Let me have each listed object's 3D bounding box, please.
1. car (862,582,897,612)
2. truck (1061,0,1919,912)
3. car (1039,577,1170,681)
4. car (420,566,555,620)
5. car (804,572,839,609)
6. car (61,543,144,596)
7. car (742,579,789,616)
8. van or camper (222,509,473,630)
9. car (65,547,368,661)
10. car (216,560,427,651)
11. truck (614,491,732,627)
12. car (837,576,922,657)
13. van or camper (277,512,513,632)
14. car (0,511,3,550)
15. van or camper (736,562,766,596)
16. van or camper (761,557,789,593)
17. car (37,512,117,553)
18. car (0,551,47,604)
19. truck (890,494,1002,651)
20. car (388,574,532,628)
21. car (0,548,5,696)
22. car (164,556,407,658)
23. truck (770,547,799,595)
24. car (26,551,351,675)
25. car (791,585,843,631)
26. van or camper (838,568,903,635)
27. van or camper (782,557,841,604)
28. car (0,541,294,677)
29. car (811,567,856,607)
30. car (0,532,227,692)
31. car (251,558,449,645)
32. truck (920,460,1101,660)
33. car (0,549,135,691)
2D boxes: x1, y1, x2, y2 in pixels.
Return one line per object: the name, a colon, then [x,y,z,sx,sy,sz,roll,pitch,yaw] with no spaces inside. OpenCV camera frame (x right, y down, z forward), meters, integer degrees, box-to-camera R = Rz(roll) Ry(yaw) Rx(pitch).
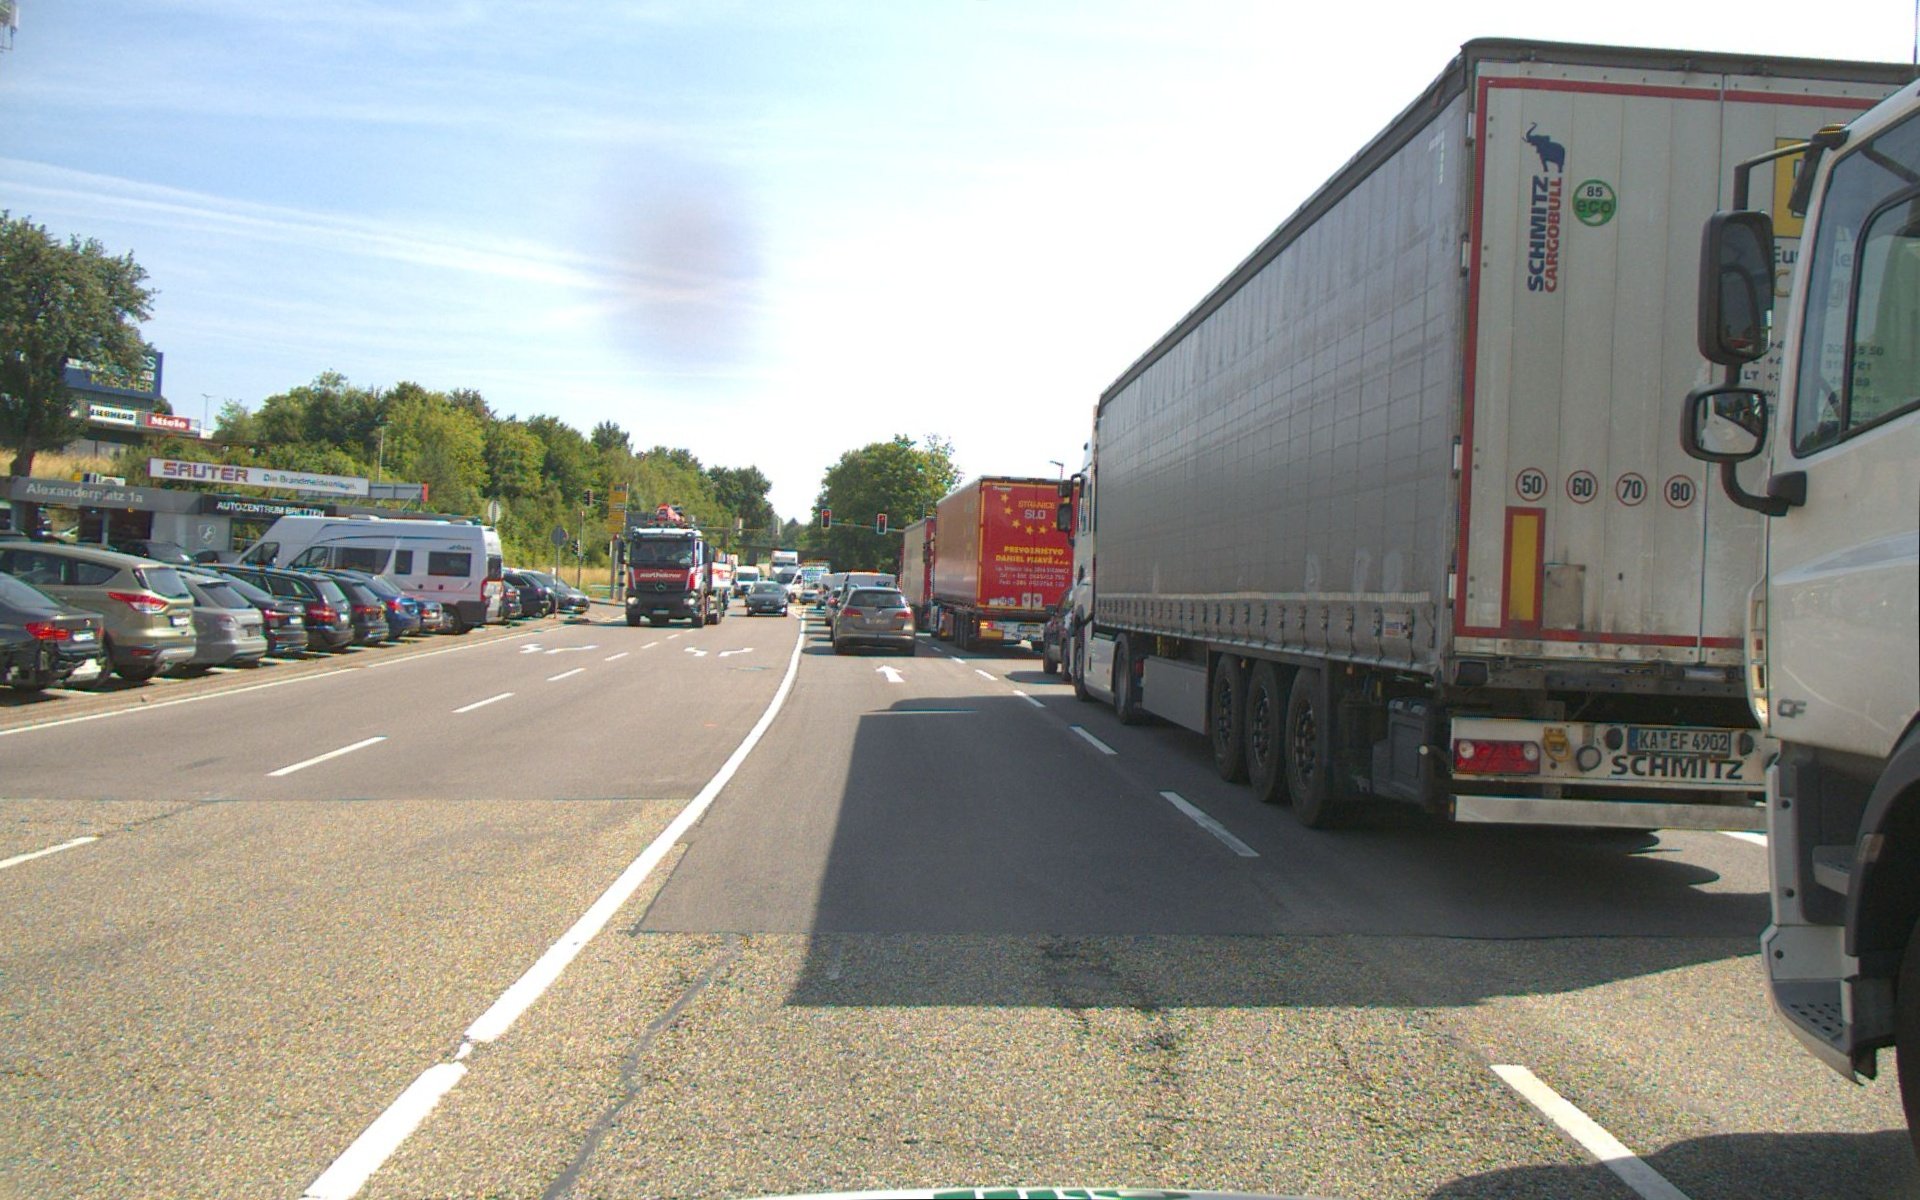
car: [-4.406,-0.157,90.251,1.693,1.545,3.308,3,-1,-5]
truck: [3.292,-0.780,16.088,2.832,4.340,16.702,2,0,-2]
car: [2.509,0.464,29.545,1.782,1.714,3.998,1,0,-3]
car: [-14.760,-0.212,51.829,3.743,1.566,1.840,1,0,-6]
car: [-7.647,-0.512,91.697,1.692,1.942,3.311,2,0,-2]
car: [-27.670,-0.984,53.328,1.751,1.616,3.778,1,0,-38]
car: [-8.700,-0.129,74.247,1.770,1.587,4.384,1,0,-3]
van or camper: [-16.237,-0.814,44.111,5.777,2.923,2.287,2,1,-5]
car: [-12.917,0.071,28.962,4.375,1.510,1.769,6,0,-7]
car: [-12.993,0.096,33.830,3.637,1.582,1.706,3,1,-7]
truck: [-9.848,-1.361,57.868,2.897,4.282,10.639,0,1,-4]
car: [-1.751,0.337,36.707,1.754,1.667,3.502,1,0,-2]
van or camper: [-14.196,-0.692,41.846,5.141,2.779,2.209,2,0,-4]
car: [-38.393,-2.713,63.668,3.686,1.476,1.724,2,-1,45]
van or camper: [-16.525,-1.646,131.159,2.131,2.595,4.166,2,0,-5]
van or camper: [-16.021,-2.147,143.650,2.181,2.890,5.704,2,0,-5]
car: [-34.745,-2.656,65.074,3.686,1.476,1.724,2,-1,45]
car: [-30.567,-0.737,52.035,3.752,1.616,1.763,2,0,35]
truck: [-0.840,-1.050,65.717,3.003,5.311,16.990,2,0,-5]
car: [-14.715,0.016,48.826,3.743,1.473,1.840,1,0,-6]
car: [-11.791,0.186,16.223,3.723,1.552,1.844,2,0,-7]
car: [-12.666,0.120,31.248,3.772,1.510,1.799,6,0,-7]
truck: [-16.608,-2.754,157.022,2.503,4.382,7.588,1,1,-5]
car: [-12.207,0.198,26.413,4.217,1.510,1.796,6,0,-7]
car: [-5.211,0.295,60.520,1.692,1.545,3.310,2,0,-3]
van or camper: [-2.803,0.029,51.217,1.816,1.939,3.780,2,0,-5]
van or camper: [-10.655,-1.371,119.076,2.161,3.110,5.904,-1,-2,18]
car: [-12.070,0.098,23.734,4.196,1.510,1.834,6,0,-7]
car: [-5.248,-0.532,69.122,1.692,1.545,3.310,2,0,-2]
car: [-11.767,0.077,21.220,3.813,1.746,1.804,6,0,-7]
car: [-13.312,0.029,36.282,3.638,1.510,1.705,6,0,-7]
truck: [0.929,-0.970,45.166,2.899,4.344,16.567,2,0,-5]
car: [-11.674,0.184,18.836,3.636,1.552,1.790,1,0,-7]
